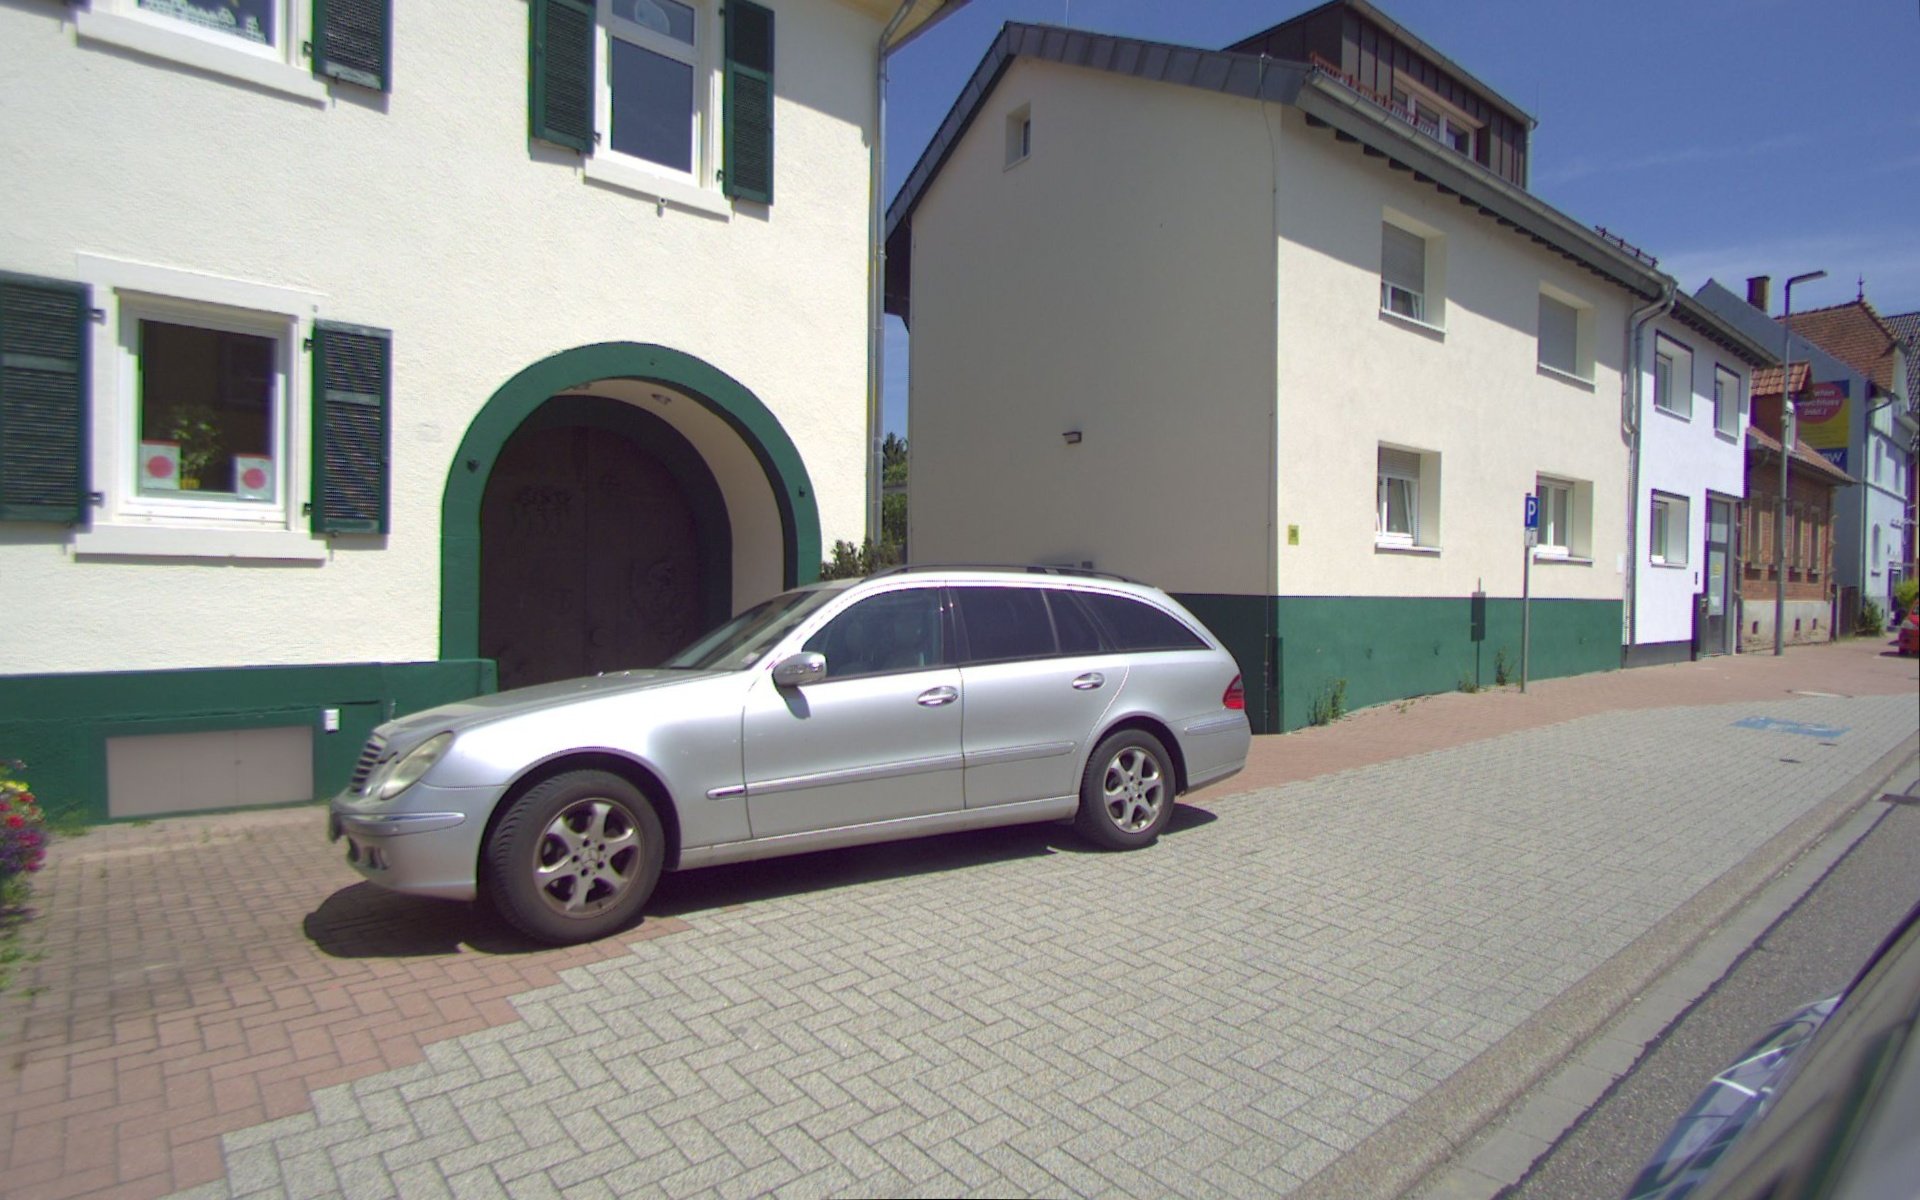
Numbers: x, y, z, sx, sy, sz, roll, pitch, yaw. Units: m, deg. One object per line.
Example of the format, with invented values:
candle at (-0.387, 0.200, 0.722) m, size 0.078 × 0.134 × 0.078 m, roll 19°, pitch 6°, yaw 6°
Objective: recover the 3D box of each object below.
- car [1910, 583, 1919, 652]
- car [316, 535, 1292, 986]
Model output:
car at (23.453, 0.409, 23.566) m, size 3.613 × 1.547 × 1.613 m, roll 0°, pitch 2°, yaw -42°
car at (-0.591, 0.546, 5.406) m, size 4.789 × 1.482 × 1.821 m, roll -1°, pitch -3°, yaw -33°
